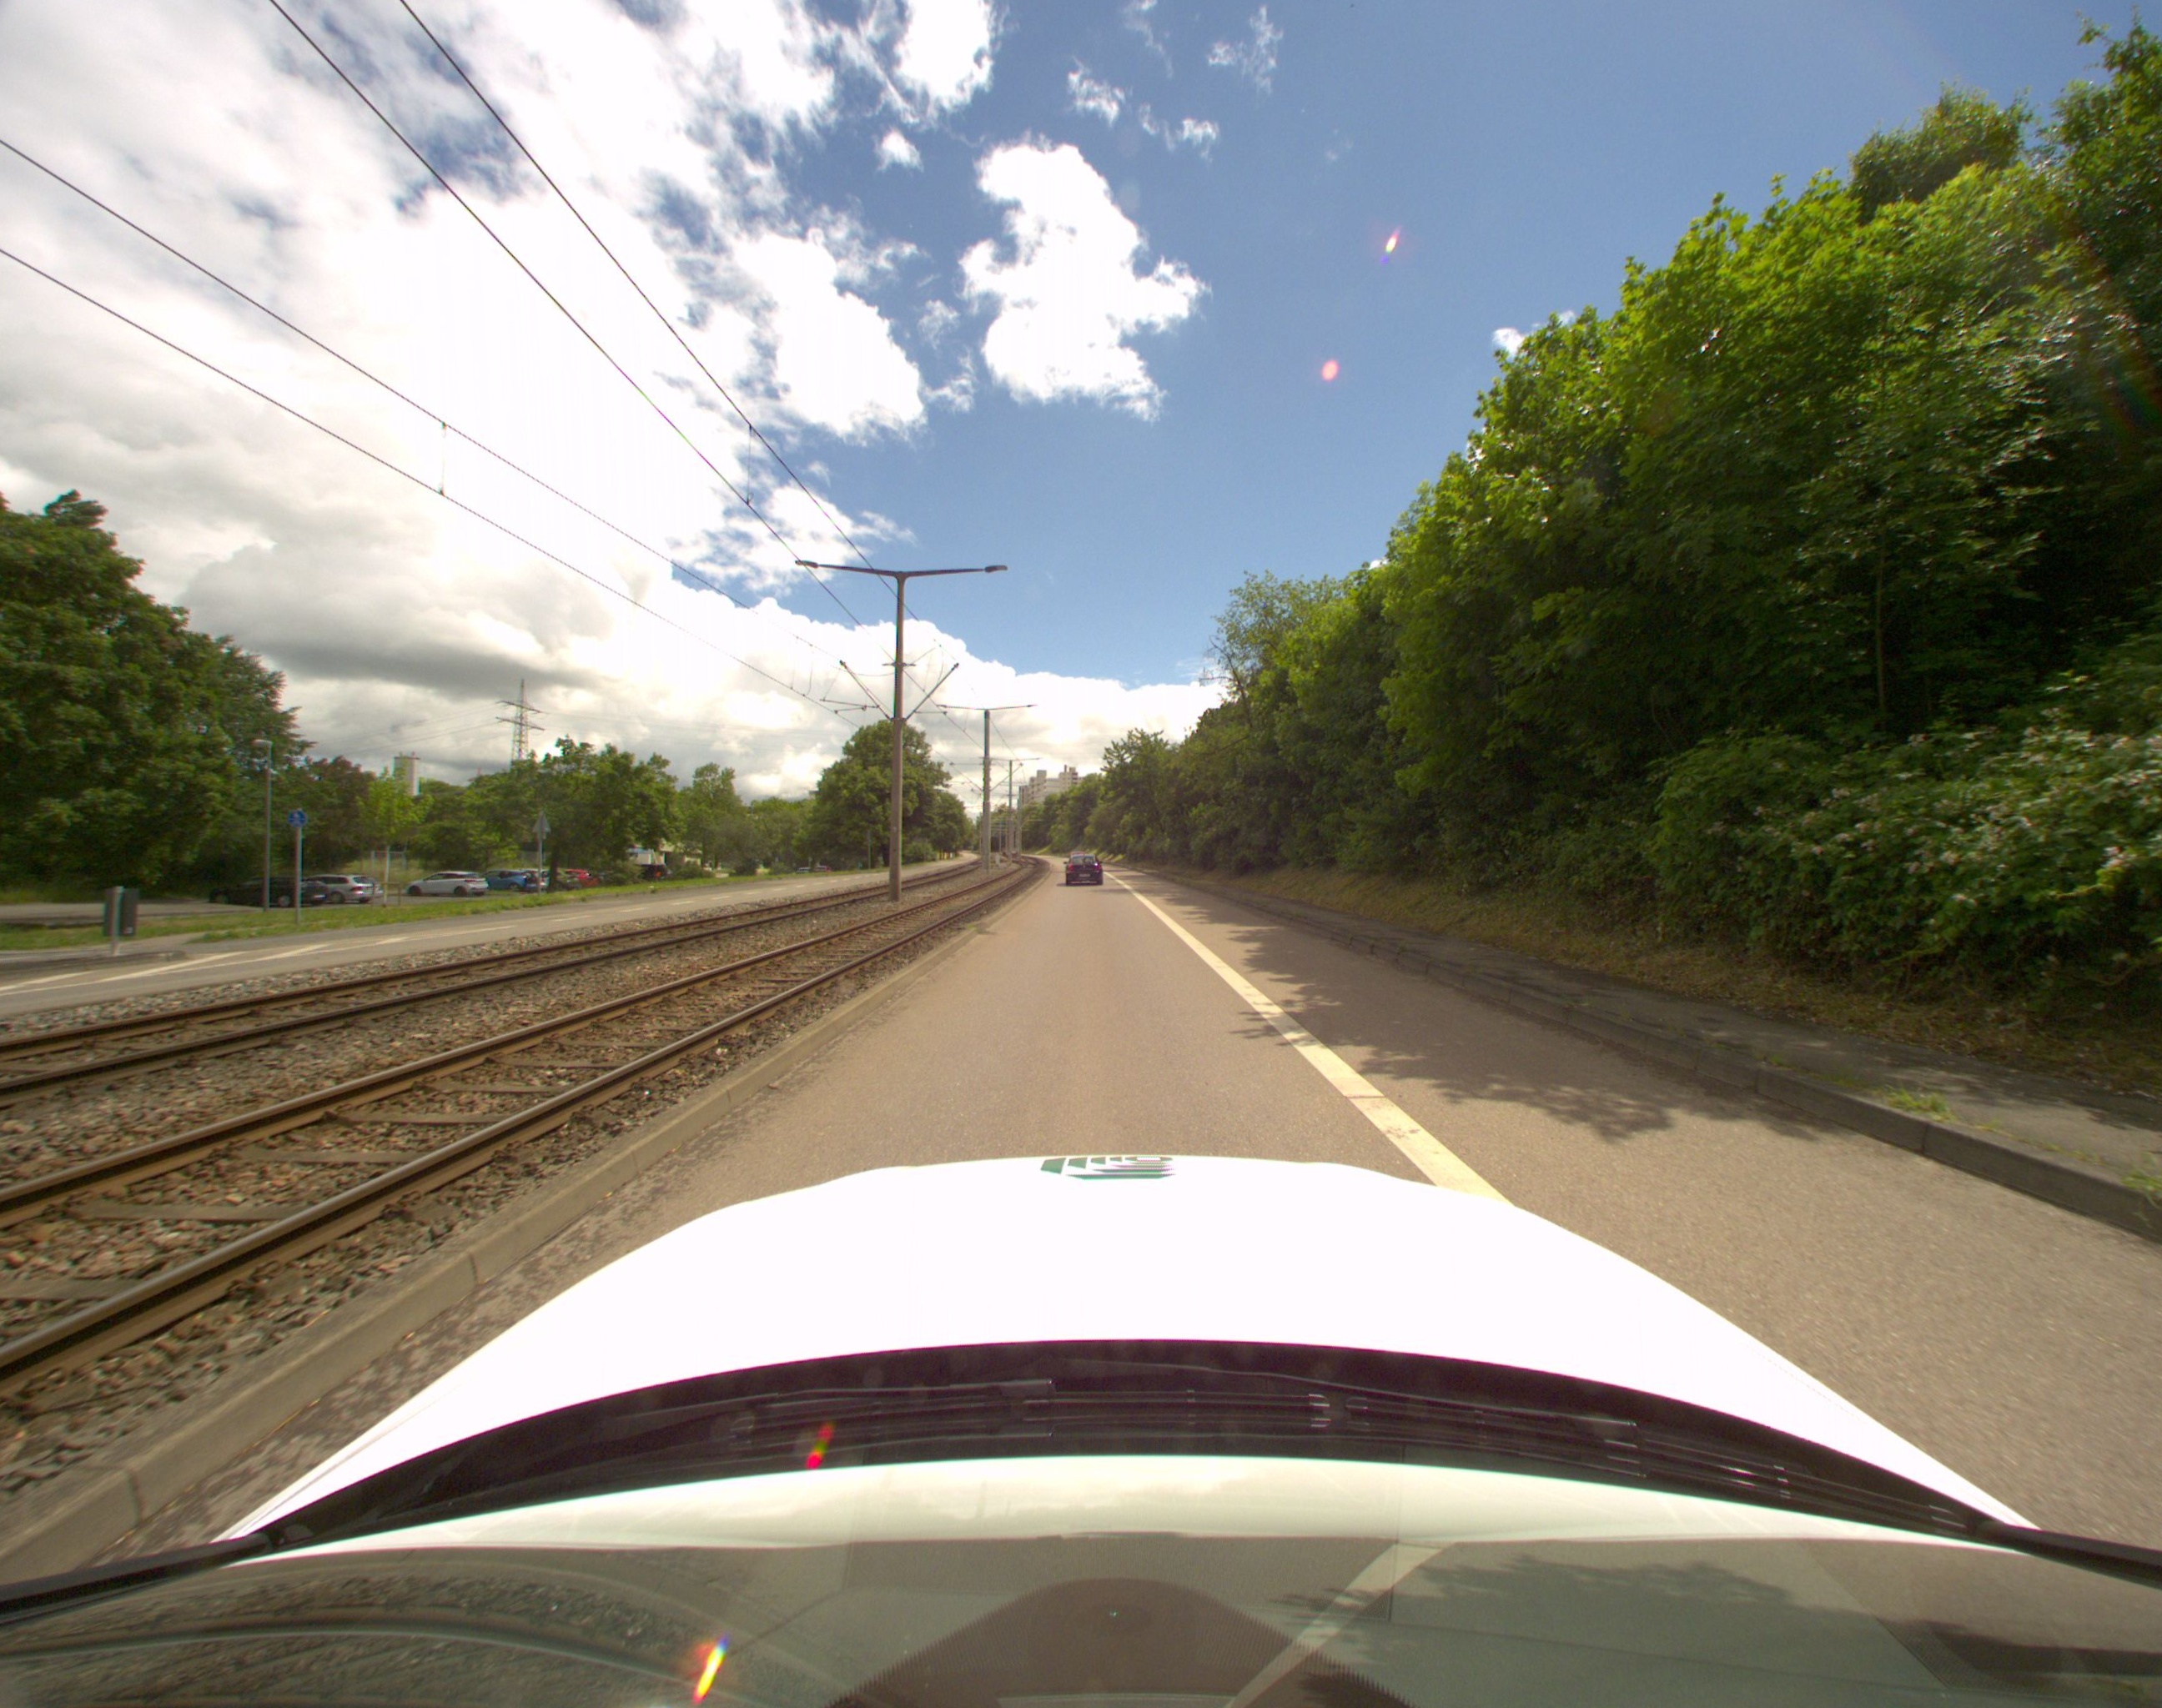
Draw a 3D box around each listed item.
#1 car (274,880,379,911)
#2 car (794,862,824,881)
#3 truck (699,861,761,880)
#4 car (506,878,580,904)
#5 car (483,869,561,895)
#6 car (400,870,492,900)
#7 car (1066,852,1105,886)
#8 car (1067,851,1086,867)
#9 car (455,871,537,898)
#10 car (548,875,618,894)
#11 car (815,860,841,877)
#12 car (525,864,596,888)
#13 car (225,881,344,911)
[{"bbox_3d":[-37.331,2.037,40.345,3.850,1.391,1.576,1,-2,5],"label":"car"},{"bbox_3d":[-28.488,1.826,85.290,1.810,1.771,3.999,-1,1,-1],"label":"car"},{"bbox_3d":[-56.873,2.639,132.110,9.136,2.695,2.593,-2,0,-26],"label":"truck"},{"bbox_3d":[-37.983,2.587,57.532,3.937,1.580,1.998,1,1,4],"label":"car"},{"bbox_3d":[-37.559,1.882,54.778,3.937,1.580,1.996,1,1,4],"label":"car"},{"bbox_3d":[-37.426,1.822,48.065,3.906,1.580,1.841,1,1,-2],"label":"car"},{"bbox_3d":[0.279,0.682,38.396,1.702,1.460,3.961,2,-1,2],"label":"car"},{"bbox_3d":[-0.408,0.478,75.970,1.619,1.443,3.420,1,-2,0],"label":"car"},{"bbox_3d":[-37.568,1.952,52.375,3.937,1.580,1.871,1,1,4],"label":"car"},{"bbox_3d":[-37.889,2.288,62.028,4.064,1.252,1.998,1,1,4],"label":"car"},{"bbox_3d":[-28.795,1.600,92.780,1.812,1.771,3.994,-1,1,-4],"label":"car"},{"bbox_3d":[-38.075,1.588,59.660,3.937,1.580,1.998,1,1,4],"label":"car"},{"bbox_3d":[-37.379,1.972,38.266,3.945,1.276,1.780,1,-2,5],"label":"car"}]
